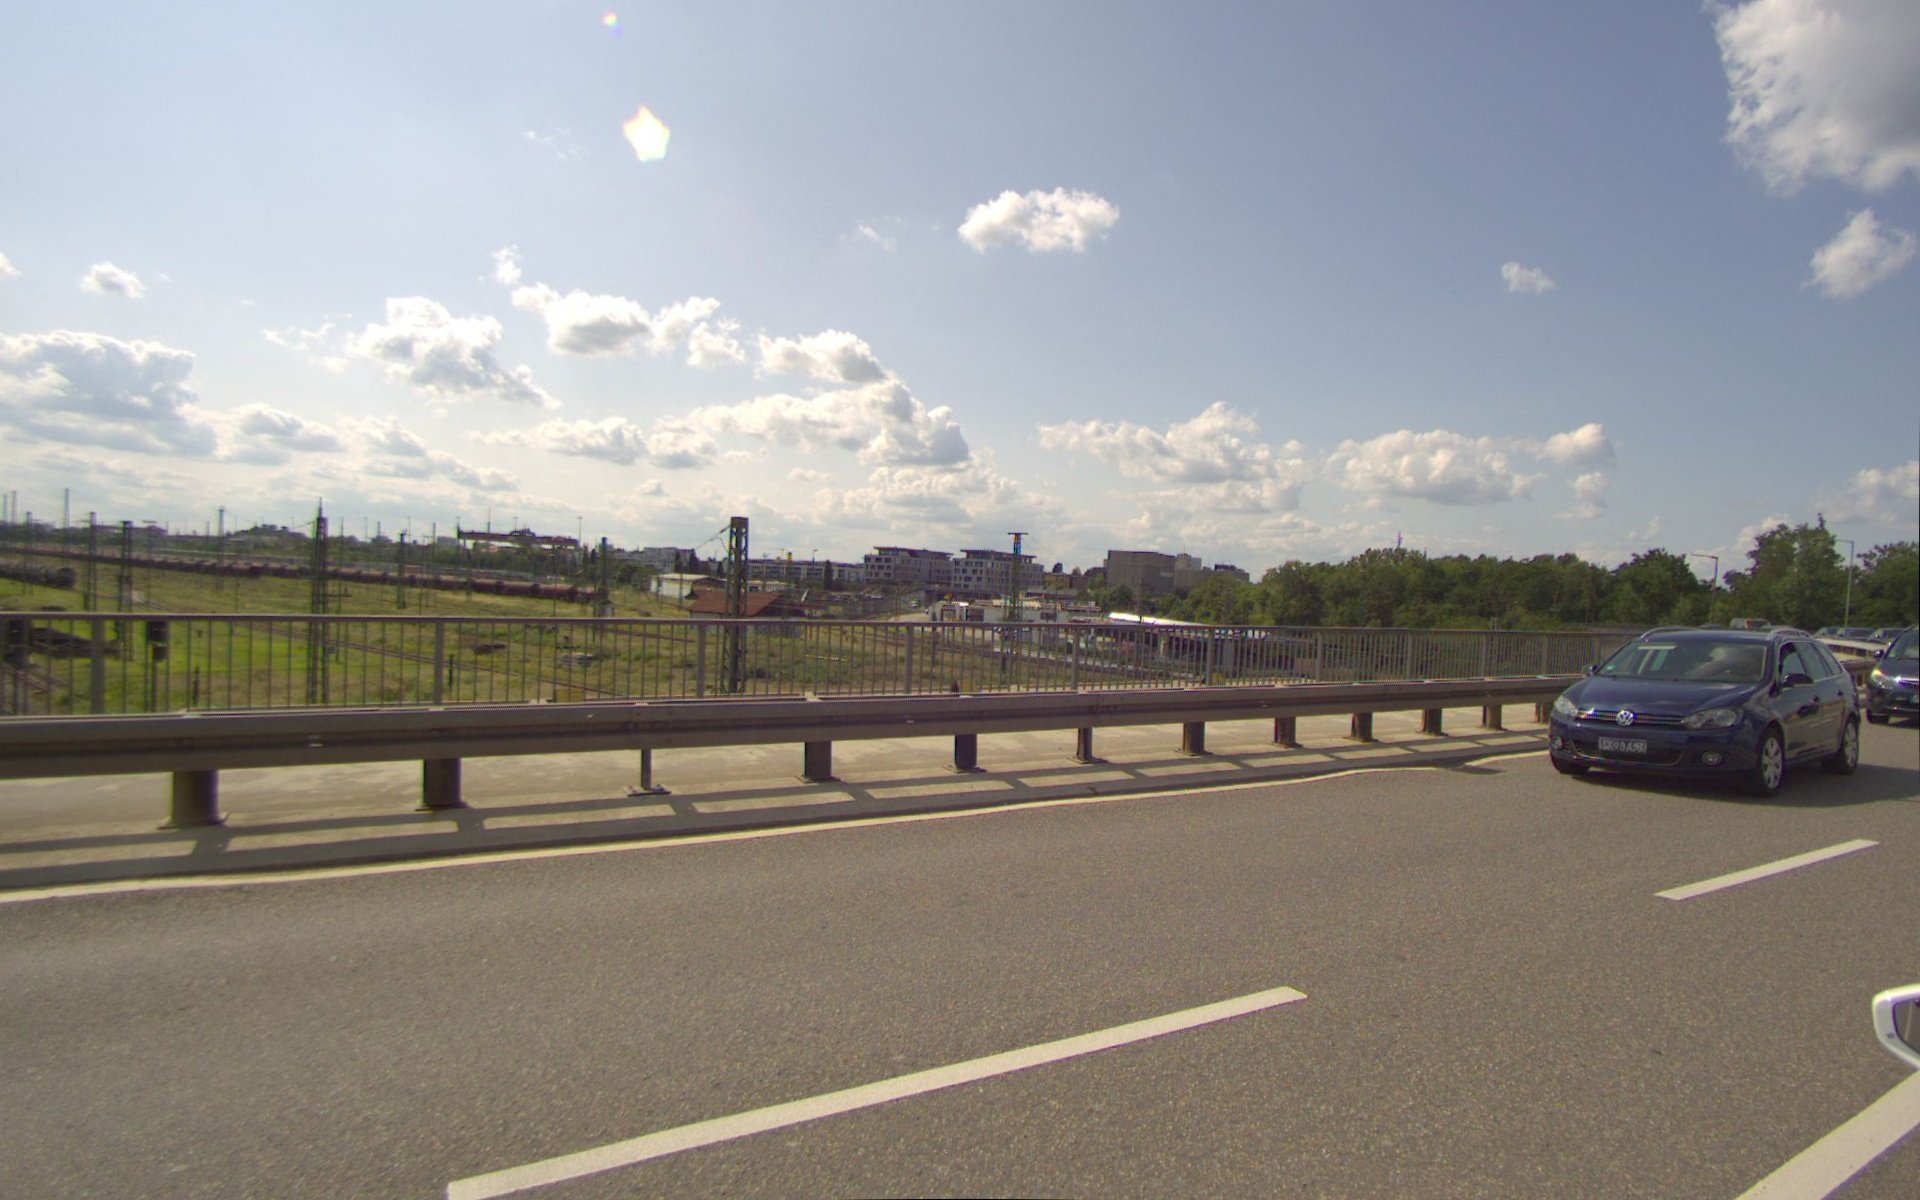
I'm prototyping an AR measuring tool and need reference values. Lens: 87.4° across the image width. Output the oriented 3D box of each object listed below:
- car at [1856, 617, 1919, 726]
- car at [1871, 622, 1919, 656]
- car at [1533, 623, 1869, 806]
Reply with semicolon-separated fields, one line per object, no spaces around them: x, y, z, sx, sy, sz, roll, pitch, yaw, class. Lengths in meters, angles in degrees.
16.489;1.159;16.540;4.385;1.653;1.706;2;-1;-36;car
47.481;1.943;50.856;1.663;1.618;4.266;0;-1;37;car
7.647;0.999;10.214;4.287;1.473;1.646;2;-1;-38;car
